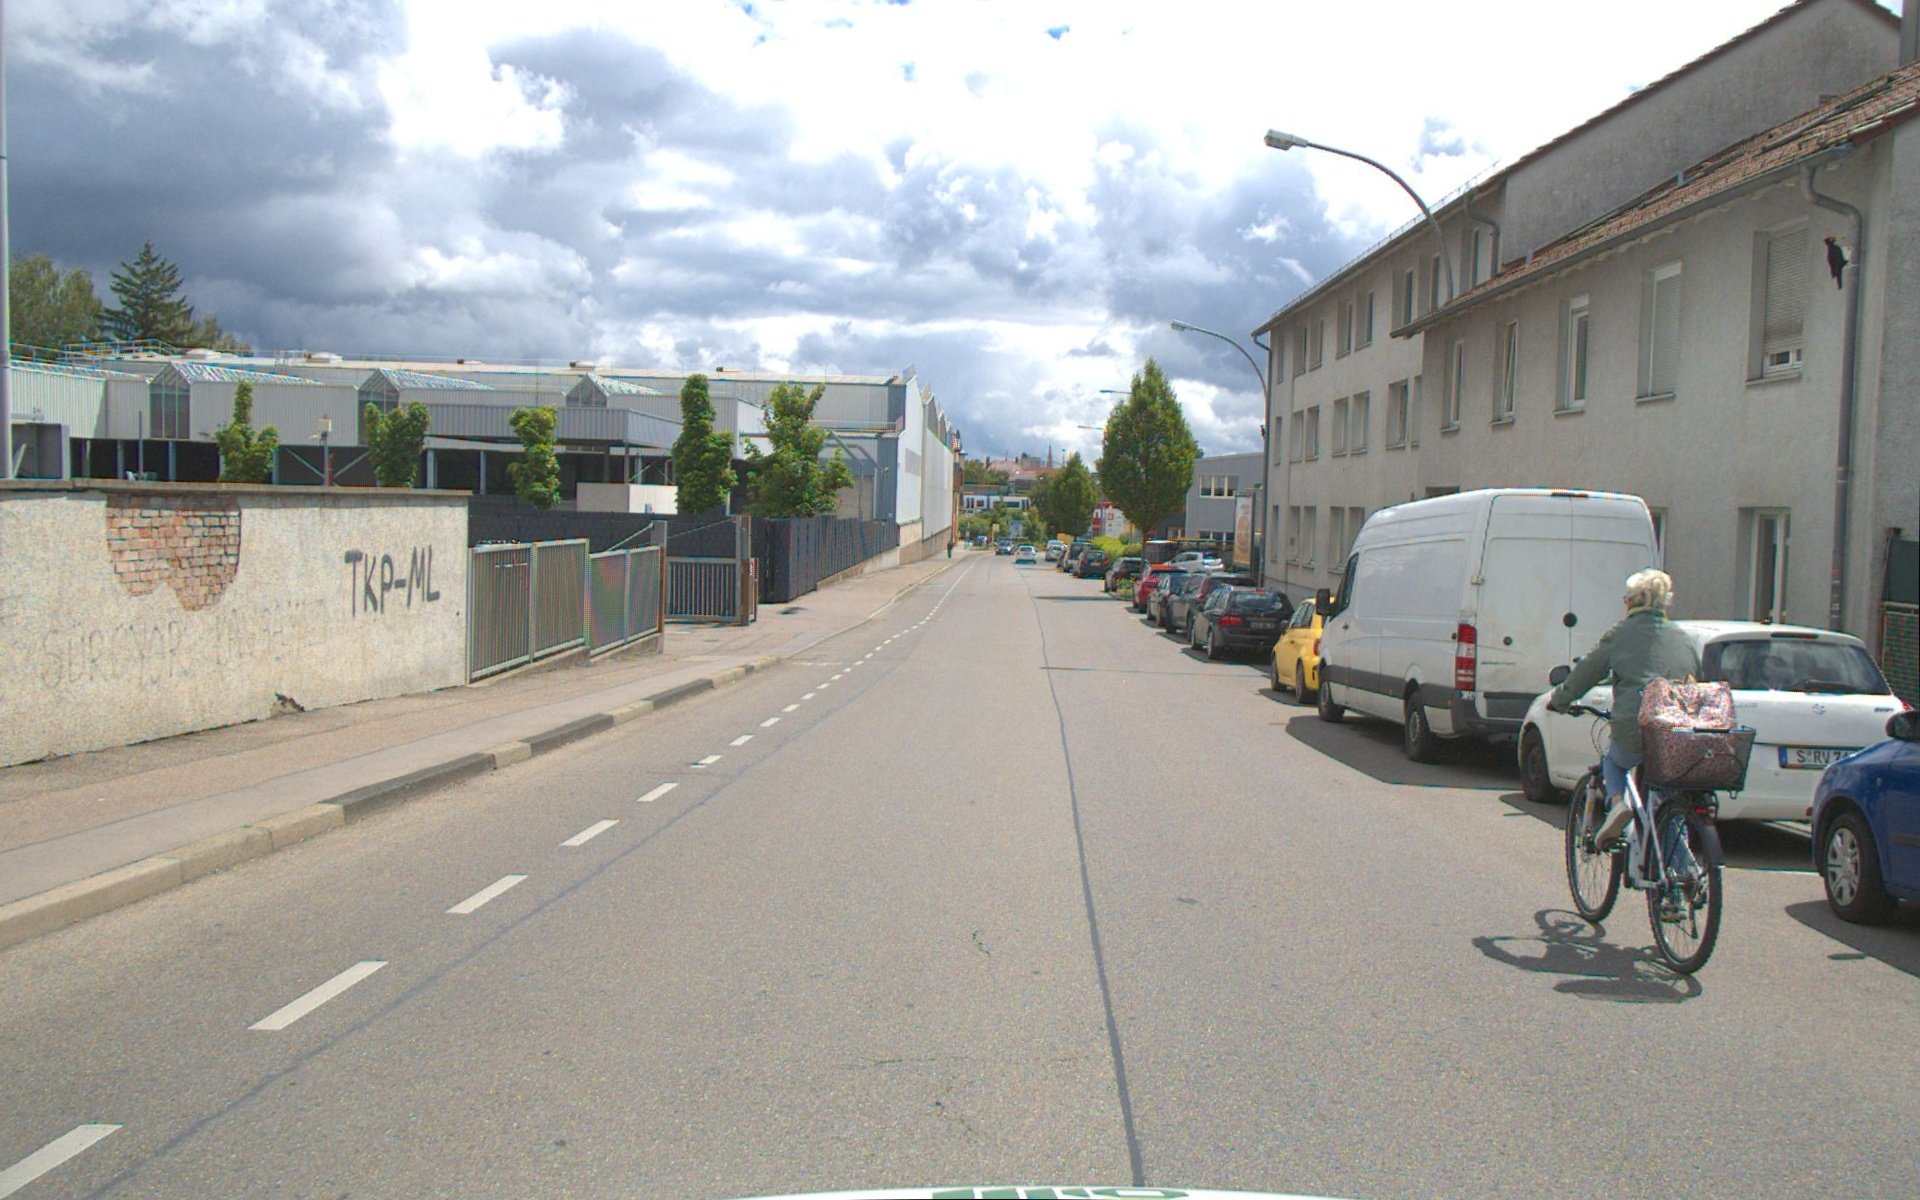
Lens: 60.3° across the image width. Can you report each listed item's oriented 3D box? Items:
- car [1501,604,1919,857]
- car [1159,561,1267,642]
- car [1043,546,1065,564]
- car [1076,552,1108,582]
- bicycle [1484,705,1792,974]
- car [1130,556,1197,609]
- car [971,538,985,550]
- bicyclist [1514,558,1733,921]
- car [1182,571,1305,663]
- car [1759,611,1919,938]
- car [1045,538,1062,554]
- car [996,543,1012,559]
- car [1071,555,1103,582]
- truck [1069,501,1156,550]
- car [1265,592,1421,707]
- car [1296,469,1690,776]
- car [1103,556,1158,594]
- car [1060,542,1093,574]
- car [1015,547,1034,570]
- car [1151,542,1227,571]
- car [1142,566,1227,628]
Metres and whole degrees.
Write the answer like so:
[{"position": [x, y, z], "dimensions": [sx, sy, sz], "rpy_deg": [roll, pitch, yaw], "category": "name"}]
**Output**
[{"position": [5.435, 0.828, 12.306], "dimensions": [1.560, 1.536, 3.790], "rpy_deg": [2, 0, 0], "category": "car"}, {"position": [6.108, -0.022, 40.428], "dimensions": [1.643, 1.666, 4.796], "rpy_deg": [3, 3, -2], "category": "car"}, {"position": [8.745, -4.219, 154.310], "dimensions": [1.667, 1.553, 3.737], "rpy_deg": [4, 2, -2], "category": "car"}, {"position": [7.590, -1.917, 95.293], "dimensions": [1.644, 1.666, 4.125], "rpy_deg": [2, 2, 3], "category": "car"}, {"position": [3.174, 1.079, 7.935], "dimensions": [0.725, 0.992, 1.732], "rpy_deg": [1, 1, -1], "category": "bicycle"}, {"position": [6.437, -0.585, 52.714], "dimensions": [1.699, 1.498, 4.263], "rpy_deg": [2, 3, 2], "category": "car"}, {"position": [2.380, -7.496, 221.455], "dimensions": [1.814, 1.512, 4.000], "rpy_deg": [2, 0, 1], "category": "car"}, {"position": [3.181, 0.643, 7.990], "dimensions": [0.724, 1.655, 0.731], "rpy_deg": [1, 0, -1], "category": "bicyclist"}, {"position": [5.866, 0.284, 34.790], "dimensions": [1.670, 1.536, 5.089], "rpy_deg": [3, 3, 0], "category": "car"}, {"position": [5.329, 0.853, 7.431], "dimensions": [1.534, 1.536, 4.094], "rpy_deg": [1, 0, 1], "category": "car"}, {"position": [9.299, -5.405, 164.971], "dimensions": [1.665, 1.554, 3.740], "rpy_deg": [2, 2, 3], "category": "car"}, {"position": [4.940, -5.479, 184.626], "dimensions": [1.684, 1.583, 4.288], "rpy_deg": [-2, 1, 1], "category": "car"}, {"position": [7.666, -1.915, 100.376], "dimensions": [1.621, 1.567, 4.735], "rpy_deg": [2, 2, 1], "category": "car"}, {"position": [15.465, -7.571, 167.902], "dimensions": [8.278, 4.752, 2.582], "rpy_deg": [2, 0, 22], "category": "truck"}, {"position": [5.640, 0.673, 24.739], "dimensions": [1.559, 1.472, 3.792], "rpy_deg": [2, 1, 2], "category": "car"}, {"position": [5.488, 0.196, 18.379], "dimensions": [1.991, 2.687, 7.283], "rpy_deg": [1, 0, 0], "category": "car"}, {"position": [7.025, -1.069, 68.511], "dimensions": [1.754, 1.491, 4.709], "rpy_deg": [1, 1, 0], "category": "car"}, {"position": [7.745, -2.833, 110.287], "dimensions": [1.830, 2.024, 5.145], "rpy_deg": [1, 2, 1], "category": "car"}, {"position": [5.353, -3.435, 137.597], "dimensions": [1.534, 1.817, 3.606], "rpy_deg": [1, 0, 1], "category": "car"}, {"position": [12.272, -2.323, 88.754], "dimensions": [1.707, 1.488, 4.022], "rpy_deg": [-3, 2, -37], "category": "car"}, {"position": [6.184, -0.123, 46.015], "dimensions": [1.699, 1.448, 4.862], "rpy_deg": [2, 3, 0], "category": "car"}]
